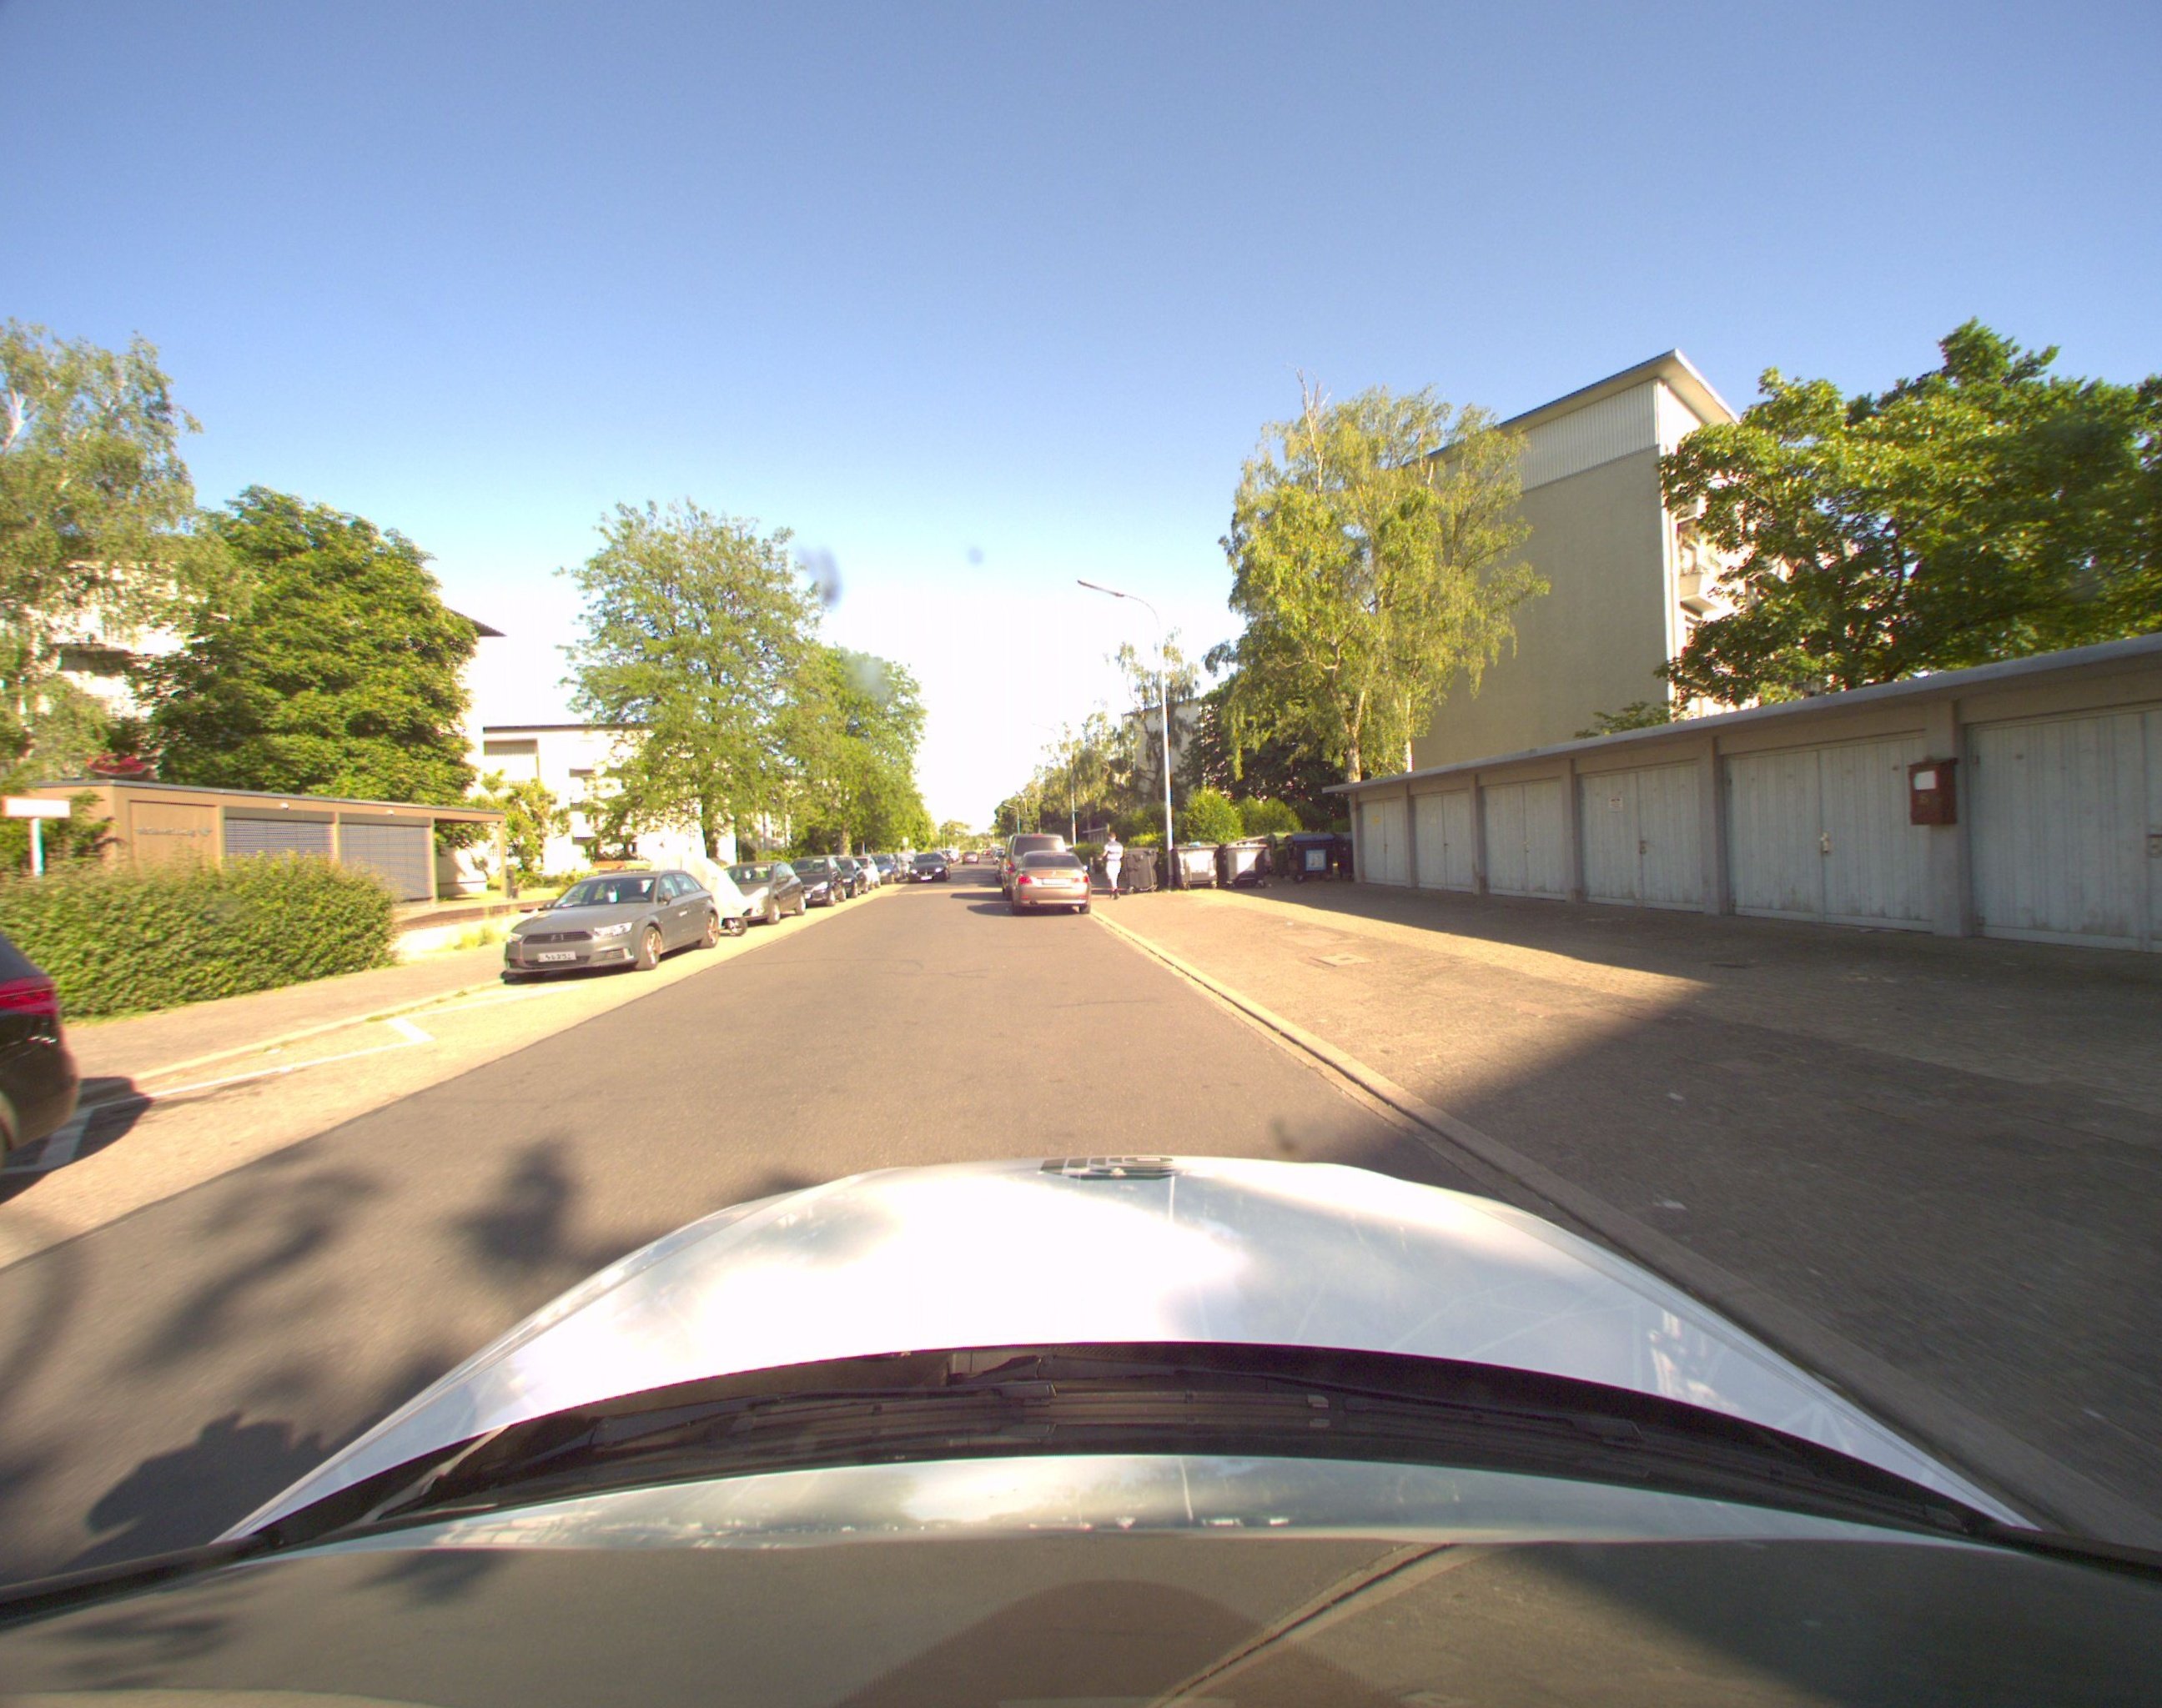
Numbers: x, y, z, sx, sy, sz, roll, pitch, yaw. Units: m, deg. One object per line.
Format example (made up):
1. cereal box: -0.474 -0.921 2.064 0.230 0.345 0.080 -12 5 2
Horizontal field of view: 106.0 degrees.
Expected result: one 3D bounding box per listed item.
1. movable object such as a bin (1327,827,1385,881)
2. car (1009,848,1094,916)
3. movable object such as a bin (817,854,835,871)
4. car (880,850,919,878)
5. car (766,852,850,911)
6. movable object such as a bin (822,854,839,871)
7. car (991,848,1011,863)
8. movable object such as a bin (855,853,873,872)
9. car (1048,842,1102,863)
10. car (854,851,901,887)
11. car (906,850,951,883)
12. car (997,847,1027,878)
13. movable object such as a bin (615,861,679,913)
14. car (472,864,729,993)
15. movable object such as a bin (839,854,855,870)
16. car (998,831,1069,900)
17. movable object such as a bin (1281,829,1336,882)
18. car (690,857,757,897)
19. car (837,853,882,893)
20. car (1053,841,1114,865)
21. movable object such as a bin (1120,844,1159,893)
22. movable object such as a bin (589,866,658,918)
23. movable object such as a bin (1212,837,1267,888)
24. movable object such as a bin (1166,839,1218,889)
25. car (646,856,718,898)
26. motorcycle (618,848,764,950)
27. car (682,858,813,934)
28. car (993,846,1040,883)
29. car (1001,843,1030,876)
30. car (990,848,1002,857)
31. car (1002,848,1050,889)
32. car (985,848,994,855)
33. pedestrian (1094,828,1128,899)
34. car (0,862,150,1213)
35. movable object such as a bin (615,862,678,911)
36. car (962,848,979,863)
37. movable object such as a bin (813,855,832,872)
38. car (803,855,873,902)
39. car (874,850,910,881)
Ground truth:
1. movable object such as a bin: 8.160 -0.030 24.207 1.273 1.465 1.132 -3 4 -4
2. car: -0.837 0.596 20.008 1.798 1.418 4.627 -2 0 -5
3. movable object such as a bin: -21.840 0.756 69.853 1.175 1.420 1.460 0 0 -5
4. car: -11.815 0.610 53.267 1.901 1.639 4.338 -4 1 -7
5. car: -8.561 0.813 25.869 1.753 1.574 3.709 -5 1 -8
6. movable object such as a bin: -21.949 0.755 71.368 1.175 1.420 1.460 0 0 -5
7. car: -8.210 0.141 83.173 1.753 1.513 4.091 -1 0 -9
8. movable object such as a bin: -16.291 0.646 61.182 1.134 1.382 1.439 0 0 -6
9. car: -0.538 -0.112 71.095 4.411 1.513 1.825 -4 1 -7
10. car: -10.594 0.743 42.624 1.752 1.606 3.960 -5 1 -6
11. car: -7.762 0.571 41.728 1.909 1.476 4.559 -3 1 -7
12. car: -3.550 0.423 42.165 1.412 1.523 2.555 -1 0 -3
13. movable object such as a bin: -12.679 0.948 23.863 1.176 1.408 1.340 -2 1 -6
14. car: -7.091 0.977 12.617 1.753 1.420 4.259 -5 1 -7
15. movable object such as a bin: -20.735 0.715 72.107 1.133 1.420 1.358 0 0 -6
16. car: -1.575 0.302 25.442 1.851 1.934 4.692 -1 0 -8
17. movable object such as a bin: 6.812 0.021 24.464 1.273 1.465 1.132 -3 4 -4
18. car: -15.022 0.926 34.421 1.570 1.525 3.988 -2 0 -9
19. car: -10.041 0.828 37.121 1.444 1.574 3.134 -5 1 -8
20. car: 0.152 -0.097 62.929 4.508 1.513 1.825 -4 1 -6
21. movable object such as a bin: 1.732 0.419 24.257 1.022 1.310 1.388 -6 1 3
22. movable object such as a bin: -12.560 1.024 22.428 1.176 1.288 1.340 -2 1 -6
23. movable object such as a bin: 4.503 0.236 23.225 1.273 1.365 1.132 -3 0 -4
24. movable object such as a bin: 3.181 0.273 23.448 1.221 1.365 1.132 -3 0 -4
25. car: -17.051 0.920 34.979 1.570 1.641 3.988 -2 0 -9
26. motorcycle: -7.542 0.845 15.892 2.256 1.726 0.929 -5 1 -10
27. car: -8.004 0.930 19.943 1.752 1.480 3.952 -5 1 -5
28. car: -3.055 0.457 37.876 1.731 1.489 4.487 -4 1 -9
29. car: -3.663 0.300 45.143 1.487 1.718 2.576 -1 0 -7
30. car: -15.126 -0.267 144.924 1.795 1.561 3.939 -2 0 -9
31. car: -2.245 0.516 32.415 1.622 1.490 4.026 -1 0 -8
32. car: -22.476 -0.631 199.787 1.795 1.548 3.939 -2 0 -9
33. pedestrian: 0.831 0.261 22.658 0.702 1.888 0.871 -5 1 -6
34. car: -5.804 0.943 2.192 1.753 1.635 4.360 -5 1 -7
35. movable object such as a bin: -12.896 0.947 24.227 1.176 1.340 1.340 -2 1 -6
36. car: -11.947 0.146 88.105 1.679 1.513 4.091 -1 0 -9
37. movable object such as a bin: -21.651 0.761 68.278 1.175 1.420 1.460 0 0 -5
38. car: -9.136 0.860 30.984 1.753 1.480 4.525 -5 1 -8
39. car: -11.025 0.637 47.706 1.635 1.606 3.525 -4 1 -8
